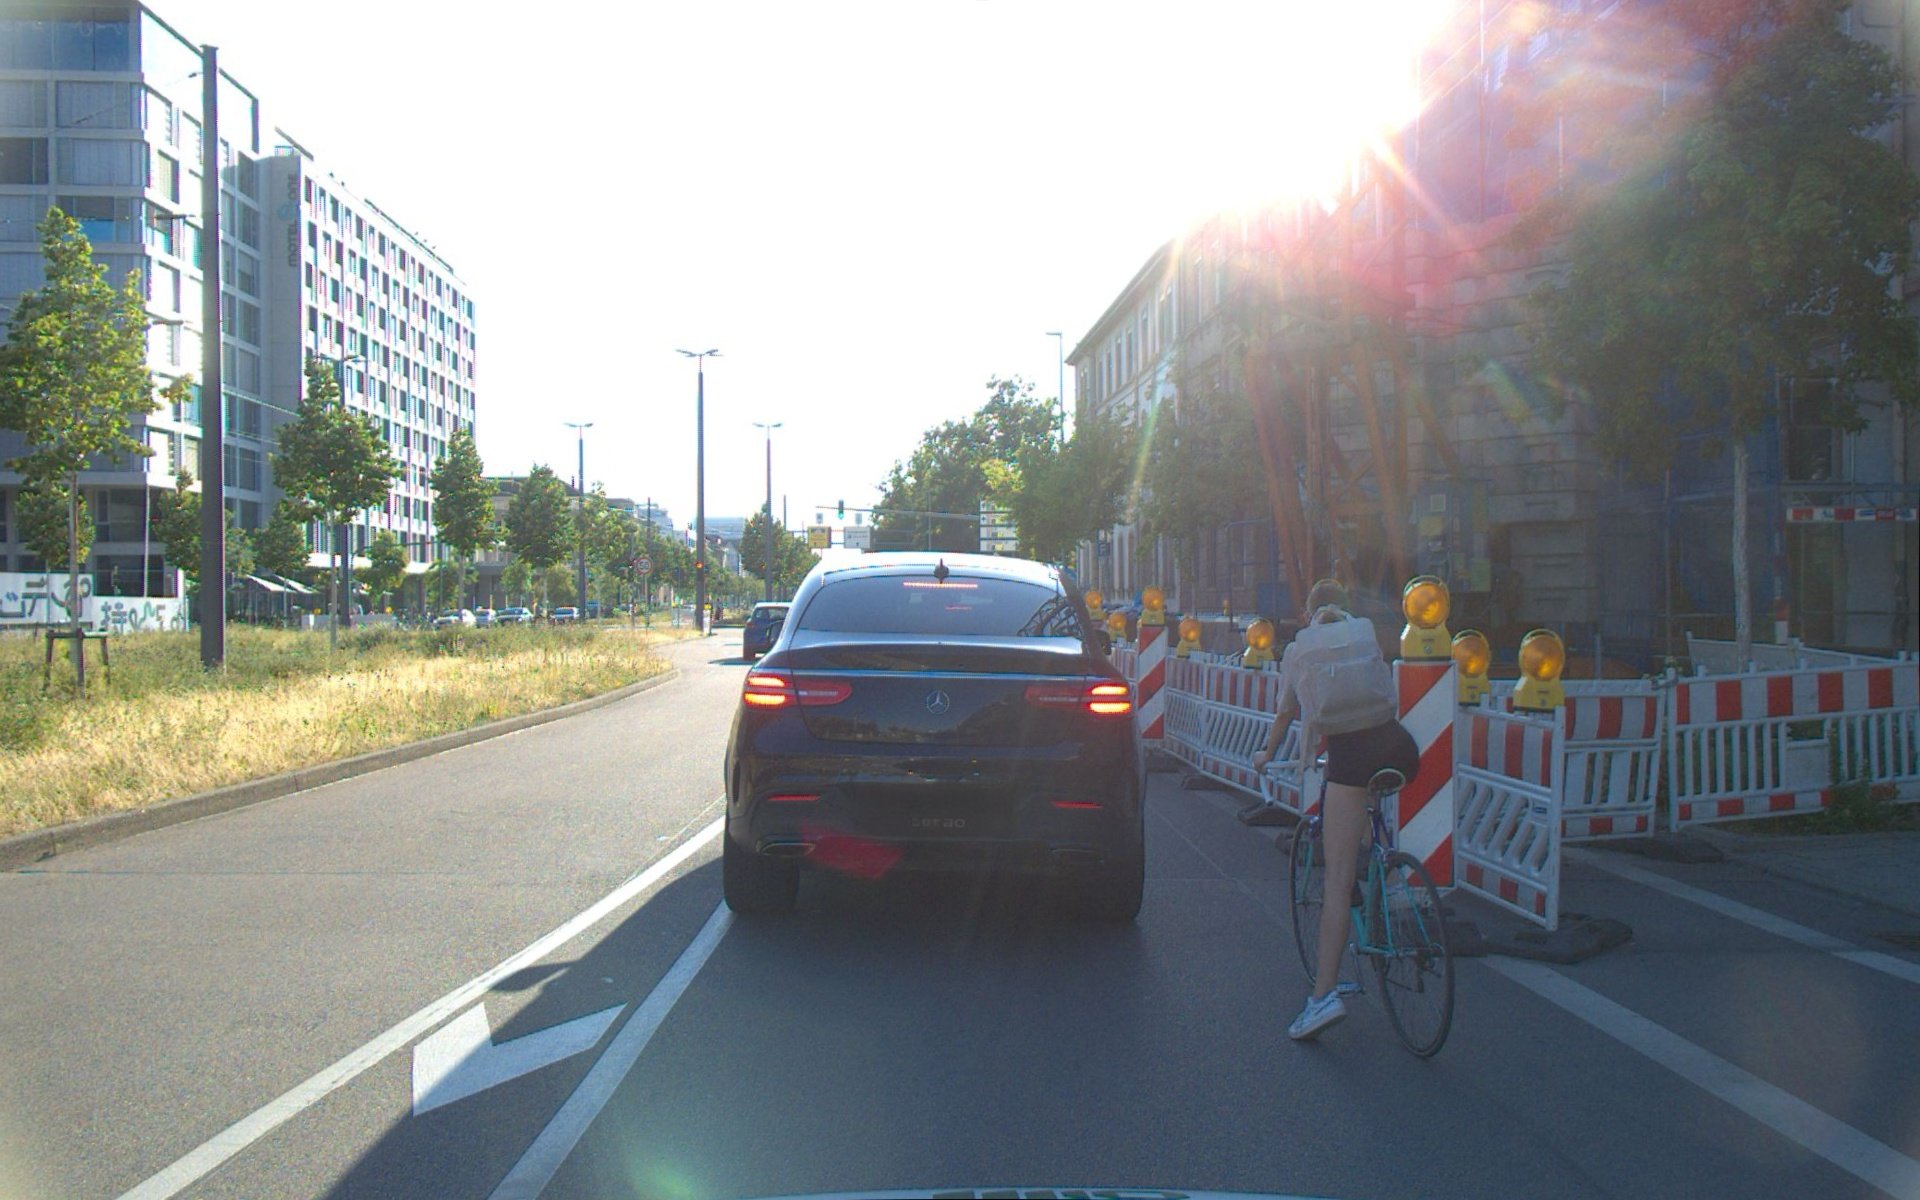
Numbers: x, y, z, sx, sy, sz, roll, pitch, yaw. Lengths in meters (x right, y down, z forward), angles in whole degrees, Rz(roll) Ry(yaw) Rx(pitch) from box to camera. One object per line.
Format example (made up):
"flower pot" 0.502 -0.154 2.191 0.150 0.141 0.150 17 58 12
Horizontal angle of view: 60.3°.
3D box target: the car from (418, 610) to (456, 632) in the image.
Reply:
"car" -36.968 1.485 116.982 1.674 1.467 3.580 1 0 -3

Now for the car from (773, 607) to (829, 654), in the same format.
"car" -5.213 0.976 54.536 1.674 1.467 3.580 1 0 -3

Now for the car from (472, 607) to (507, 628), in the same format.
"car" -34.102 1.293 119.897 1.674 1.467 3.580 1 0 -3

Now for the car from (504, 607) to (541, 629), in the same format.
"car" -29.305 1.203 110.803 1.674 1.467 3.580 1 0 -3

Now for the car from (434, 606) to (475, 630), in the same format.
"car" -32.473 1.128 106.348 1.674 1.467 3.580 1 0 -3

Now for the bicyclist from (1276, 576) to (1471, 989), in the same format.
"bicyclist" 1.489 0.633 6.022 0.512 1.420 0.614 1 -1 -4

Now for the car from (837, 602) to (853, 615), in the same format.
"car" -12.722 0.944 183.223 1.674 1.467 3.580 1 0 -3

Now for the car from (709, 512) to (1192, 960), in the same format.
"car" -0.063 0.568 8.783 1.953 1.803 3.999 1 0 -1

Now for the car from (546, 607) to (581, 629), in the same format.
"car" -27.422 1.252 114.497 1.674 1.467 3.580 1 0 -3

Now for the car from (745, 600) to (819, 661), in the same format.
"car" -4.570 0.767 42.839 1.674 1.467 3.580 1 0 -3

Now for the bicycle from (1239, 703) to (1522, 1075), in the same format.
"bicycle" 1.479 0.968 6.099 0.502 1.070 1.724 1 0 -3
